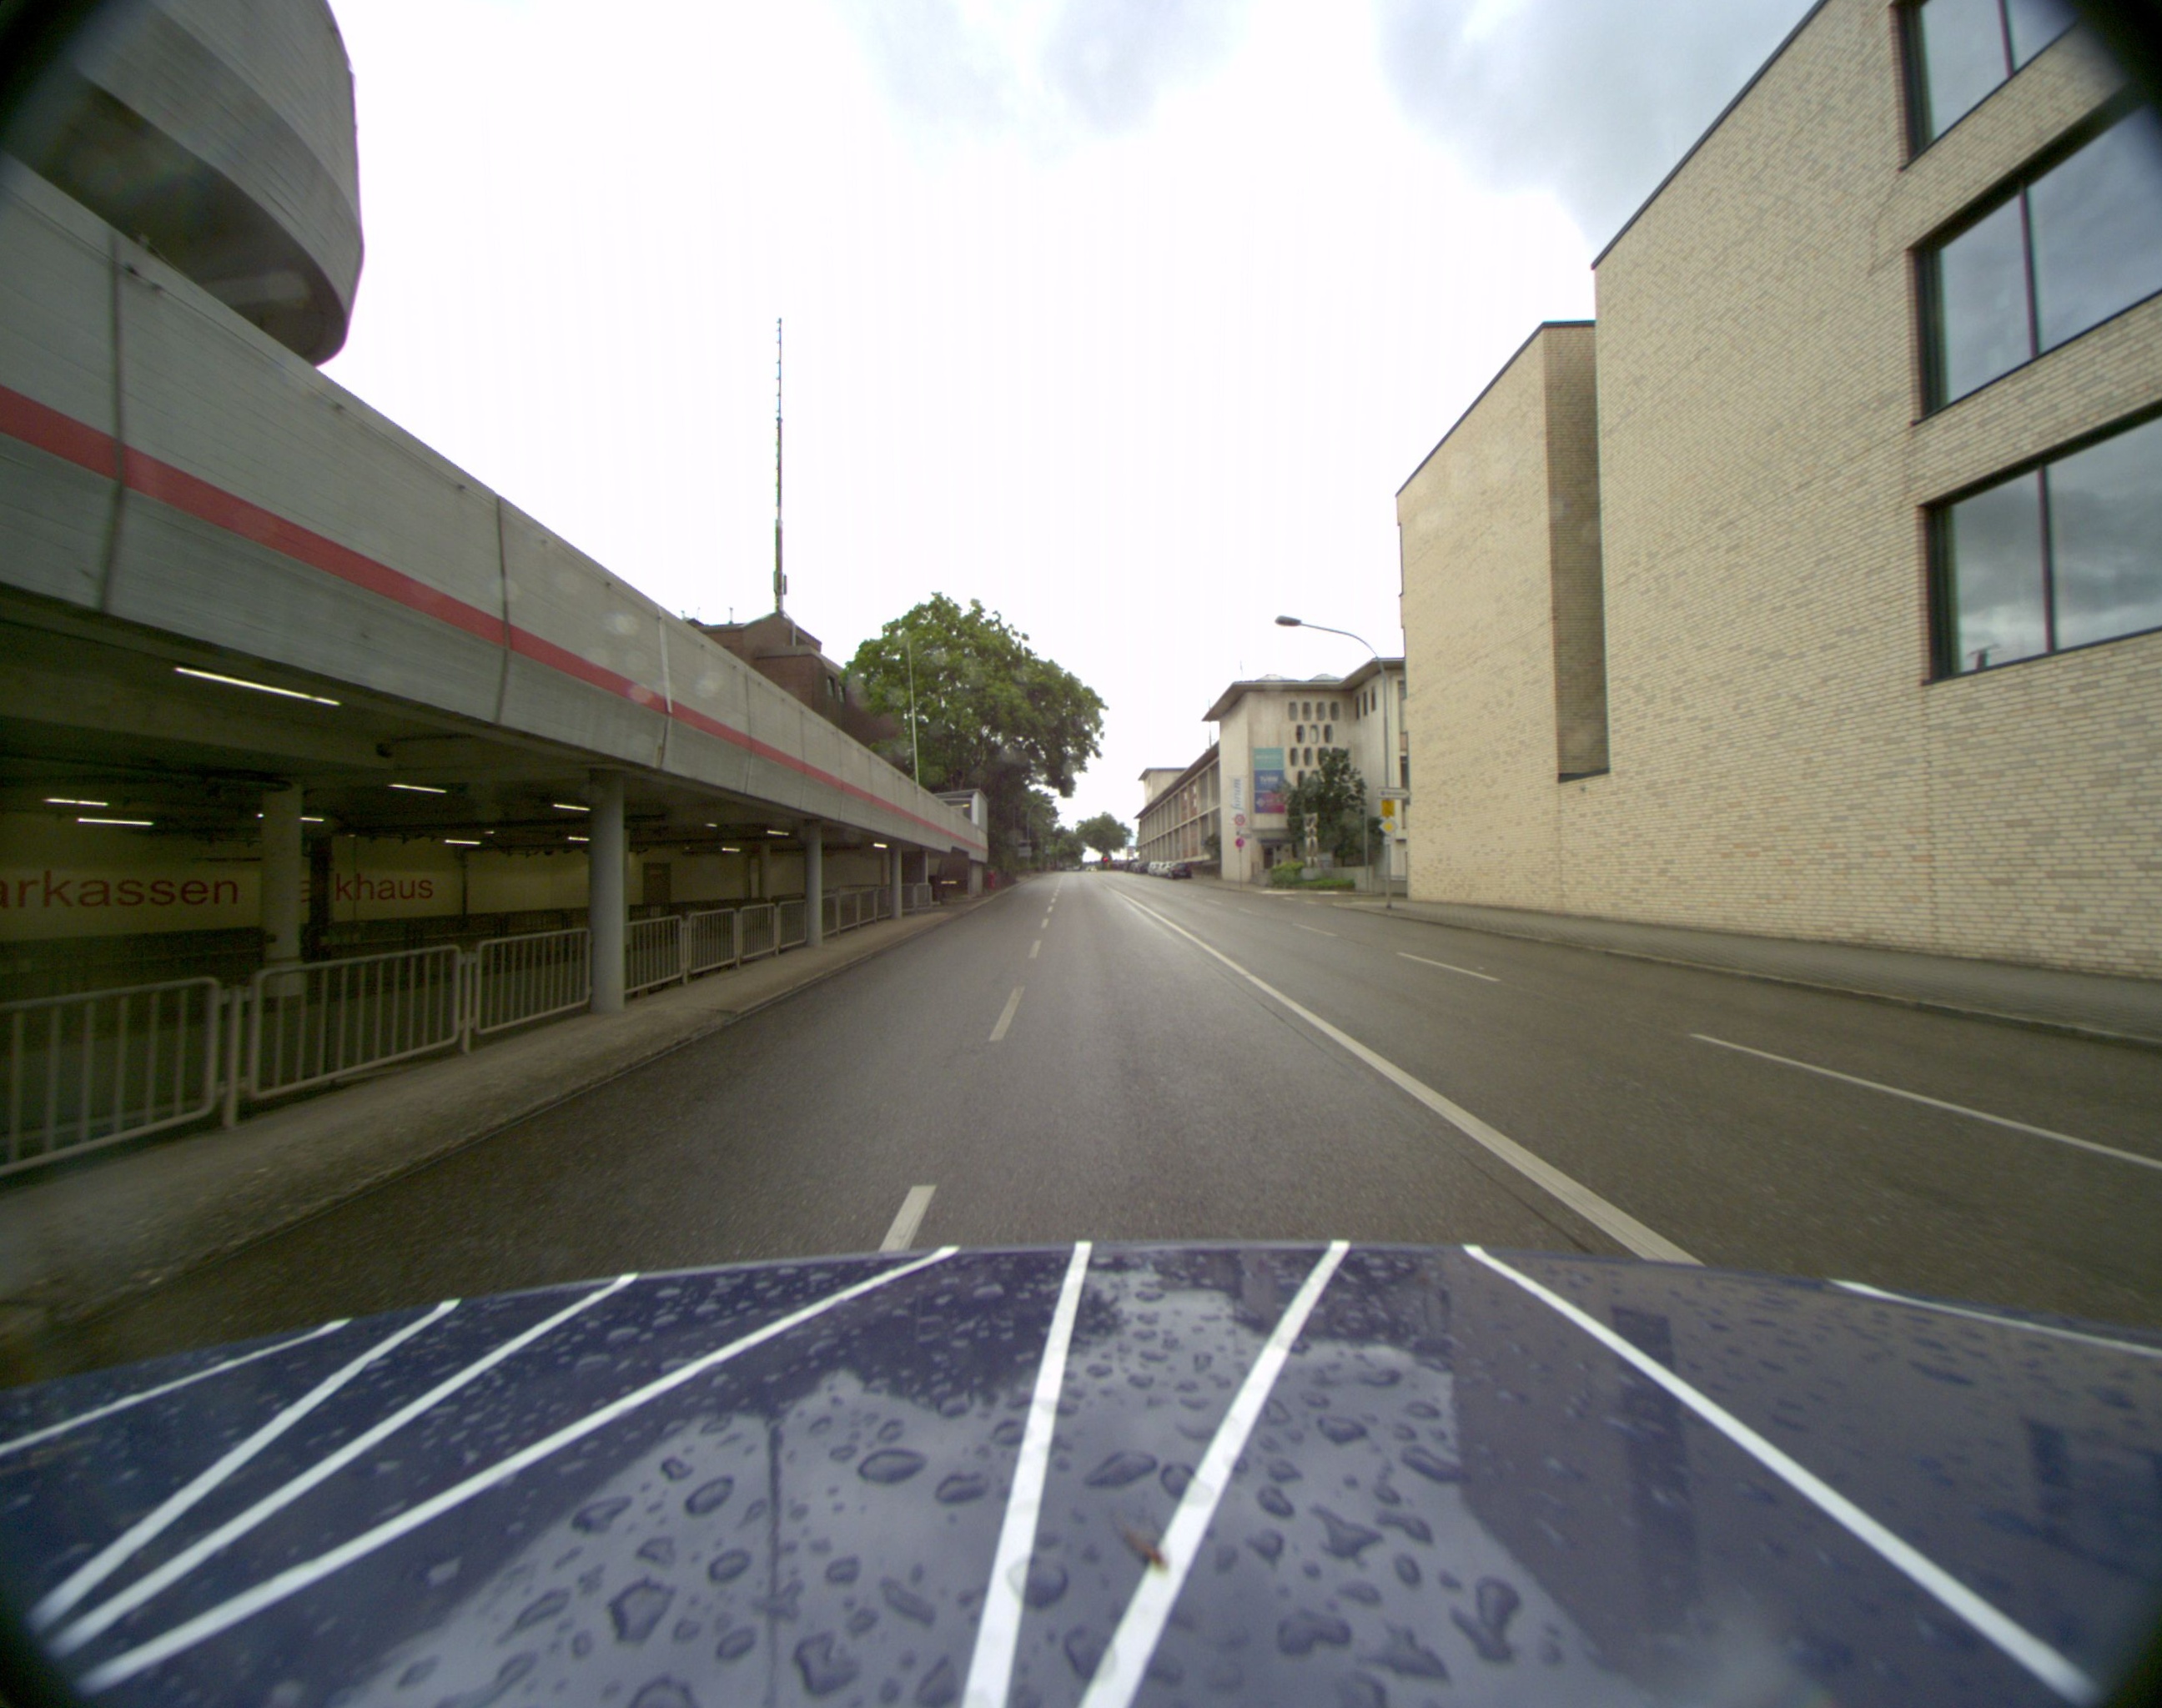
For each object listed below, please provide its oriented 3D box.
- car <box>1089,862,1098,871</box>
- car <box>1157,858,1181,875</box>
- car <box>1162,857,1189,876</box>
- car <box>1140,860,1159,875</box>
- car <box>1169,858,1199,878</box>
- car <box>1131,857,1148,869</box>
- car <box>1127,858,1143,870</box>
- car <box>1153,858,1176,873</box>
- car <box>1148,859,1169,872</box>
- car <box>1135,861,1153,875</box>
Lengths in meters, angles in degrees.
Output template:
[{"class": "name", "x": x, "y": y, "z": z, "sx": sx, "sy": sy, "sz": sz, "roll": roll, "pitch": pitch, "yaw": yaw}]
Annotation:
[{"class": "car", "x": 3.089, "y": 3.094, "z": 190.033, "sx": 1.806, "sy": 2.002, "sz": 3.997, "roll": -3, "pitch": 1, "yaw": -6}, {"class": "car", "x": 9.087, "y": 1.261, "z": 79.079, "sx": 1.998, "sy": 1.503, "sz": 4.000, "roll": -3, "pitch": 1, "yaw": 1}, {"class": "car", "x": 9.184, "y": 1.168, "z": 73.988, "sx": 1.999, "sy": 1.632, "sz": 3.999, "roll": -3, "pitch": 1, "yaw": -1}, {"class": "car", "x": 8.907, "y": 1.737, "z": 99.127, "sx": 1.999, "sy": 1.701, "sz": 3.999, "roll": -3, "pitch": 1, "yaw": -1}, {"class": "car", "x": 9.248, "y": 1.239, "z": 68.623, "sx": 1.999, "sy": 1.520, "sz": 3.999, "roll": -3, "pitch": 1, "yaw": -1}, {"class": "car", "x": 8.824, "y": 1.364, "z": 114.891, "sx": 1.999, "sy": 1.528, "sz": 3.999, "roll": -3, "pitch": 1, "yaw": -1}, {"class": "car", "x": 8.485, "y": 1.583, "z": 119.904, "sx": 1.999, "sy": 1.637, "sz": 3.998, "roll": -4, "pitch": 2, "yaw": -2}, {"class": "car", "x": 9.213, "y": 1.253, "z": 84.421, "sx": 1.999, "sy": 1.482, "sz": 4.185, "roll": -3, "pitch": 1, "yaw": 0}, {"class": "car", "x": 9.242, "y": 1.357, "z": 90.327, "sx": 1.999, "sy": 1.521, "sz": 3.999, "roll": 0, "pitch": 1, "yaw": -1}, {"class": "car", "x": 8.656, "y": 1.861, "z": 104.947, "sx": 1.999, "sy": 1.724, "sz": 3.999, "roll": -3, "pitch": 1, "yaw": -2}]
